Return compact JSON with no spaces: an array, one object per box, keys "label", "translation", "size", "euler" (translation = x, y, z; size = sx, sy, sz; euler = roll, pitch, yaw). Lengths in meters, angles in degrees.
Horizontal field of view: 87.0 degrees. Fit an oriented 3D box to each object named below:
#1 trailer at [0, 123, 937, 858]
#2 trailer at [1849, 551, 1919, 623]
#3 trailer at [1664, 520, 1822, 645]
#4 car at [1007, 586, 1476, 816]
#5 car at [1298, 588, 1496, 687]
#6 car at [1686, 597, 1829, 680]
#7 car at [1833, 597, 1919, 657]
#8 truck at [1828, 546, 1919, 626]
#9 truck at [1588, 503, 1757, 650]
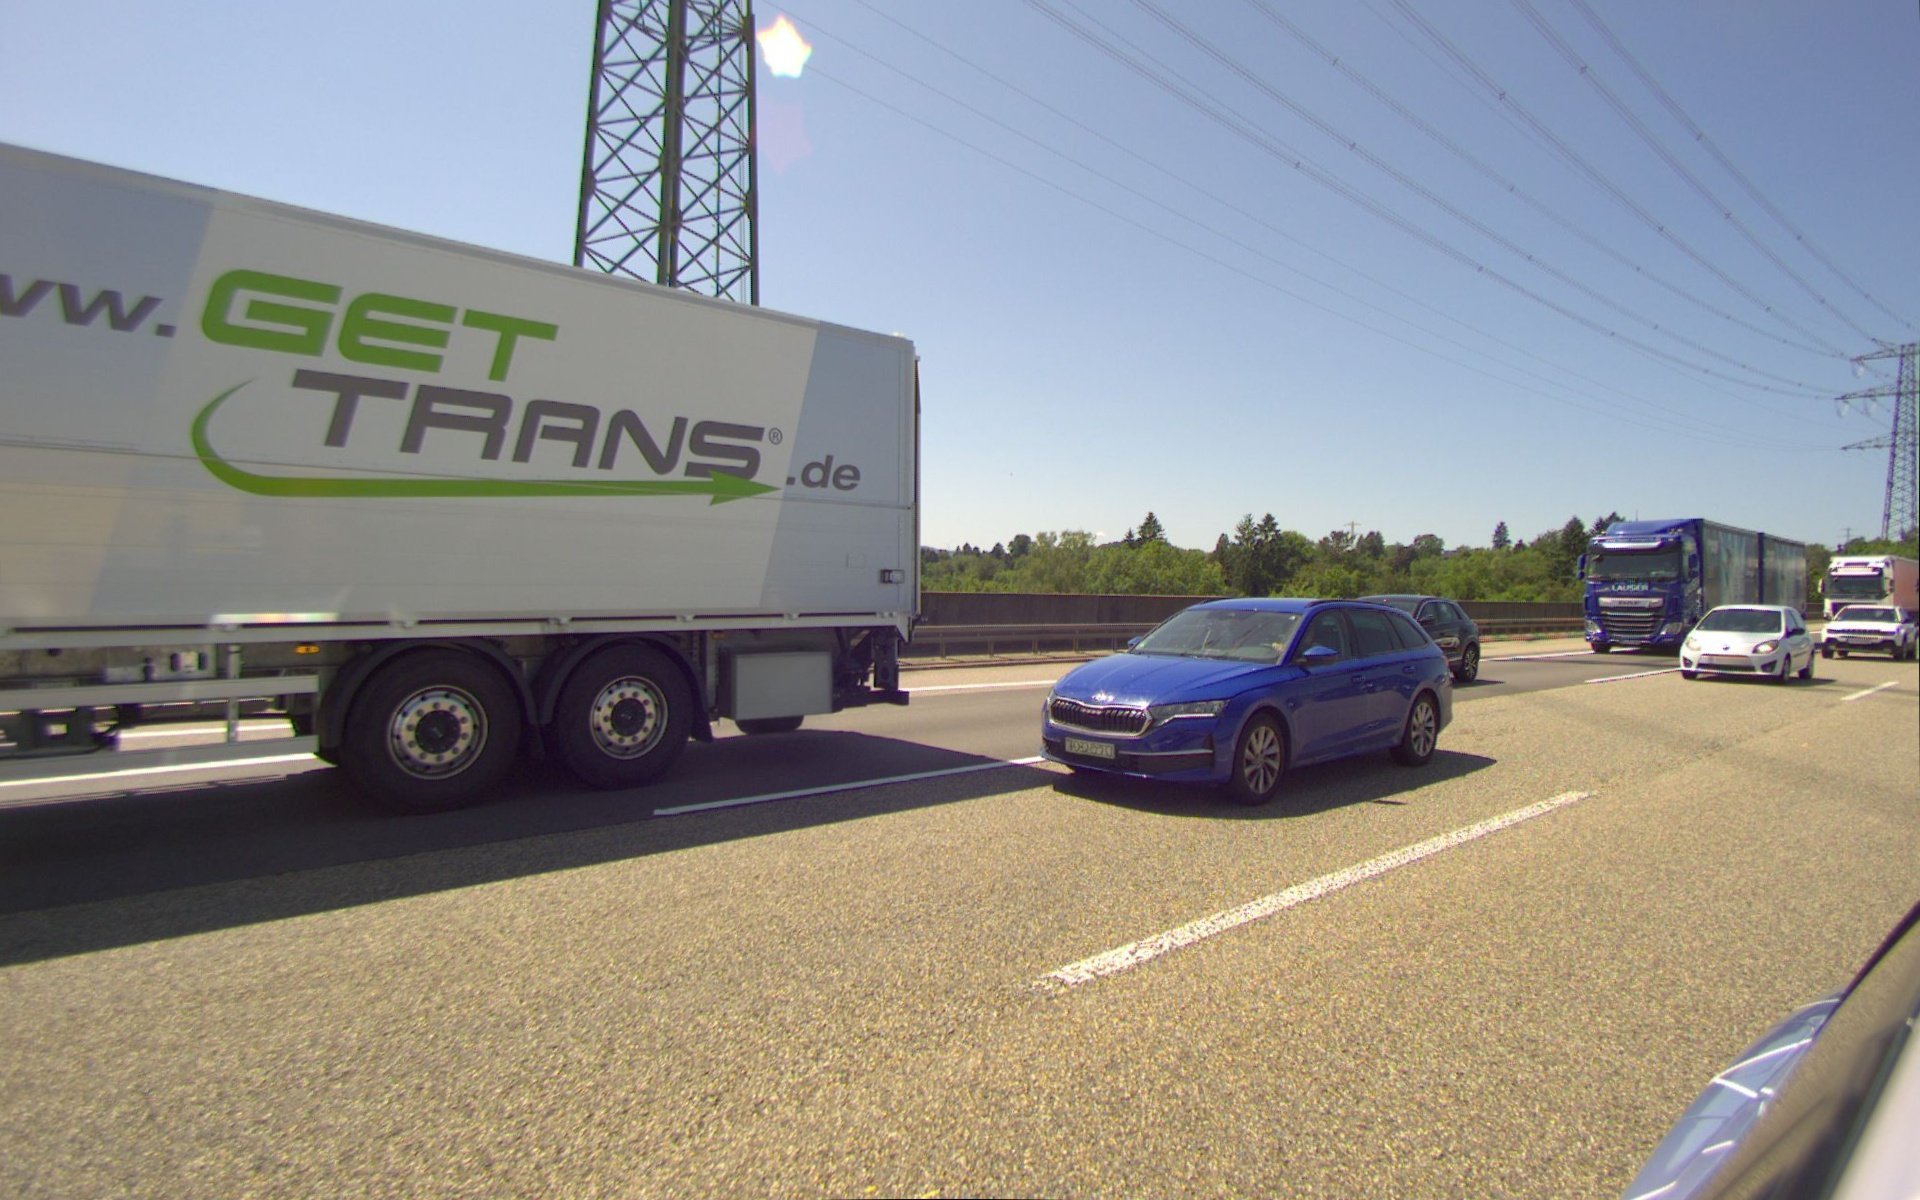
[{"label":"trailer","translation":[-4.189,-0.547,7.426],"size":[8.148,3.640,2.849],"euler":[0,0,-42]},{"label":"trailer","translation":[53.808,-0.748,58.288],"size":[8.539,3.849,2.901],"euler":[-1,0,-42]},{"label":"trailer","translation":[28.953,-0.618,37.158],"size":[10.695,4.044,2.541],"euler":[-1,0,-41]},{"label":"car","translation":[2.575,0.633,8.568],"size":[4.422,1.458,1.712],"euler":[0,1,-42]},{"label":"car","translation":[7.701,0.577,17.692],"size":[3.821,1.524,1.708],"euler":[0,1,-41]},{"label":"car","translation":[15.694,0.688,19.856],"size":[3.566,1.458,1.582],"euler":[0,1,-41]},{"label":"car","translation":[26.164,0.714,28.651],"size":[3.688,1.554,1.720],"euler":[0,0,-42]},{"label":"truck","translation":[48.150,-0.719,53.230],"size":[6.625,3.941,2.911],"euler":[-1,0,-42]},{"label":"truck","translation":[22.003,-0.639,31.048],"size":[7.789,4.018,2.515],"euler":[0,0,-42]}]
